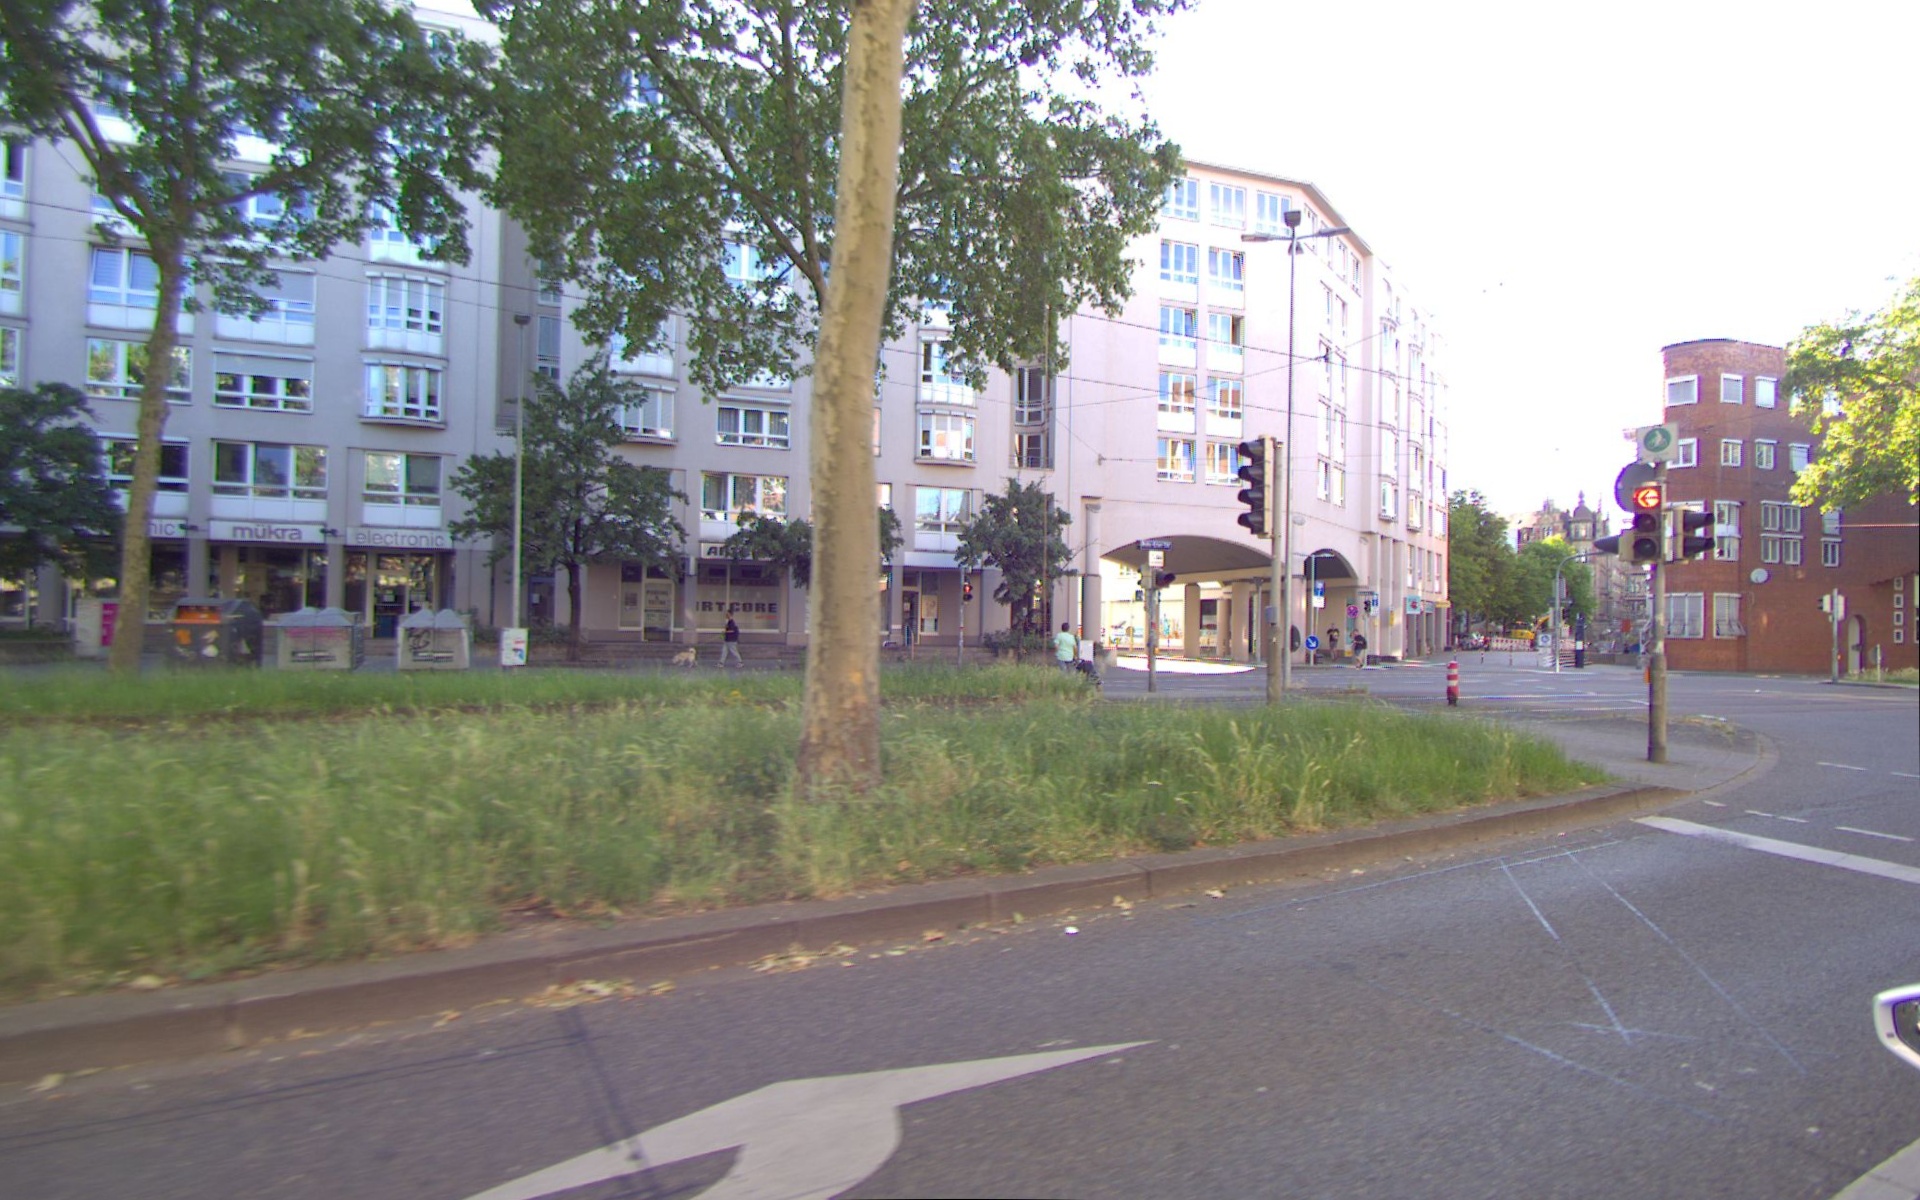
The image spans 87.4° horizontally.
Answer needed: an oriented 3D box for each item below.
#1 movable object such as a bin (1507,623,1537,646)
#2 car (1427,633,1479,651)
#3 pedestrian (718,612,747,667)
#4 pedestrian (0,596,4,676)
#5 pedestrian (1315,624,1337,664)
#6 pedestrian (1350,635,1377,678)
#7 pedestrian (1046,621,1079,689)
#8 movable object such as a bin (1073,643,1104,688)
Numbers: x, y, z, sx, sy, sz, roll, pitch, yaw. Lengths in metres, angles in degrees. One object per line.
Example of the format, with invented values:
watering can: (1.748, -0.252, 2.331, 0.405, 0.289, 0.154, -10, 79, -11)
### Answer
movable object such as a bin: (56.788, 3.493, 101.487, 2.769, 2.341, 1.908, 2, -2, -44)
car: (42.343, 3.602, 86.280, 3.926, 1.419, 1.998, 1, -1, 28)
pedestrian: (-7.062, 1.222, 31.125, 0.776, 1.660, 0.706, 1, -1, -18)
pedestrian: (-21.284, 0.780, 21.719, 0.639, 1.763, 0.726, 1, -1, -26)
pedestrian: (19.139, 2.284, 52.471, 0.824, 2.040, 0.884, 0, -1, 39)
pedestrian: (18.175, 2.532, 45.256, 0.739, 1.894, 0.856, 1, -1, -12)
pedestrian: (2.351, 1.254, 23.038, 0.526, 1.523, 0.617, 1, -1, -20)
movable object such as a bin: (2.881, 1.463, 22.519, 0.530, 0.966, 0.510, 1, -1, -16)
